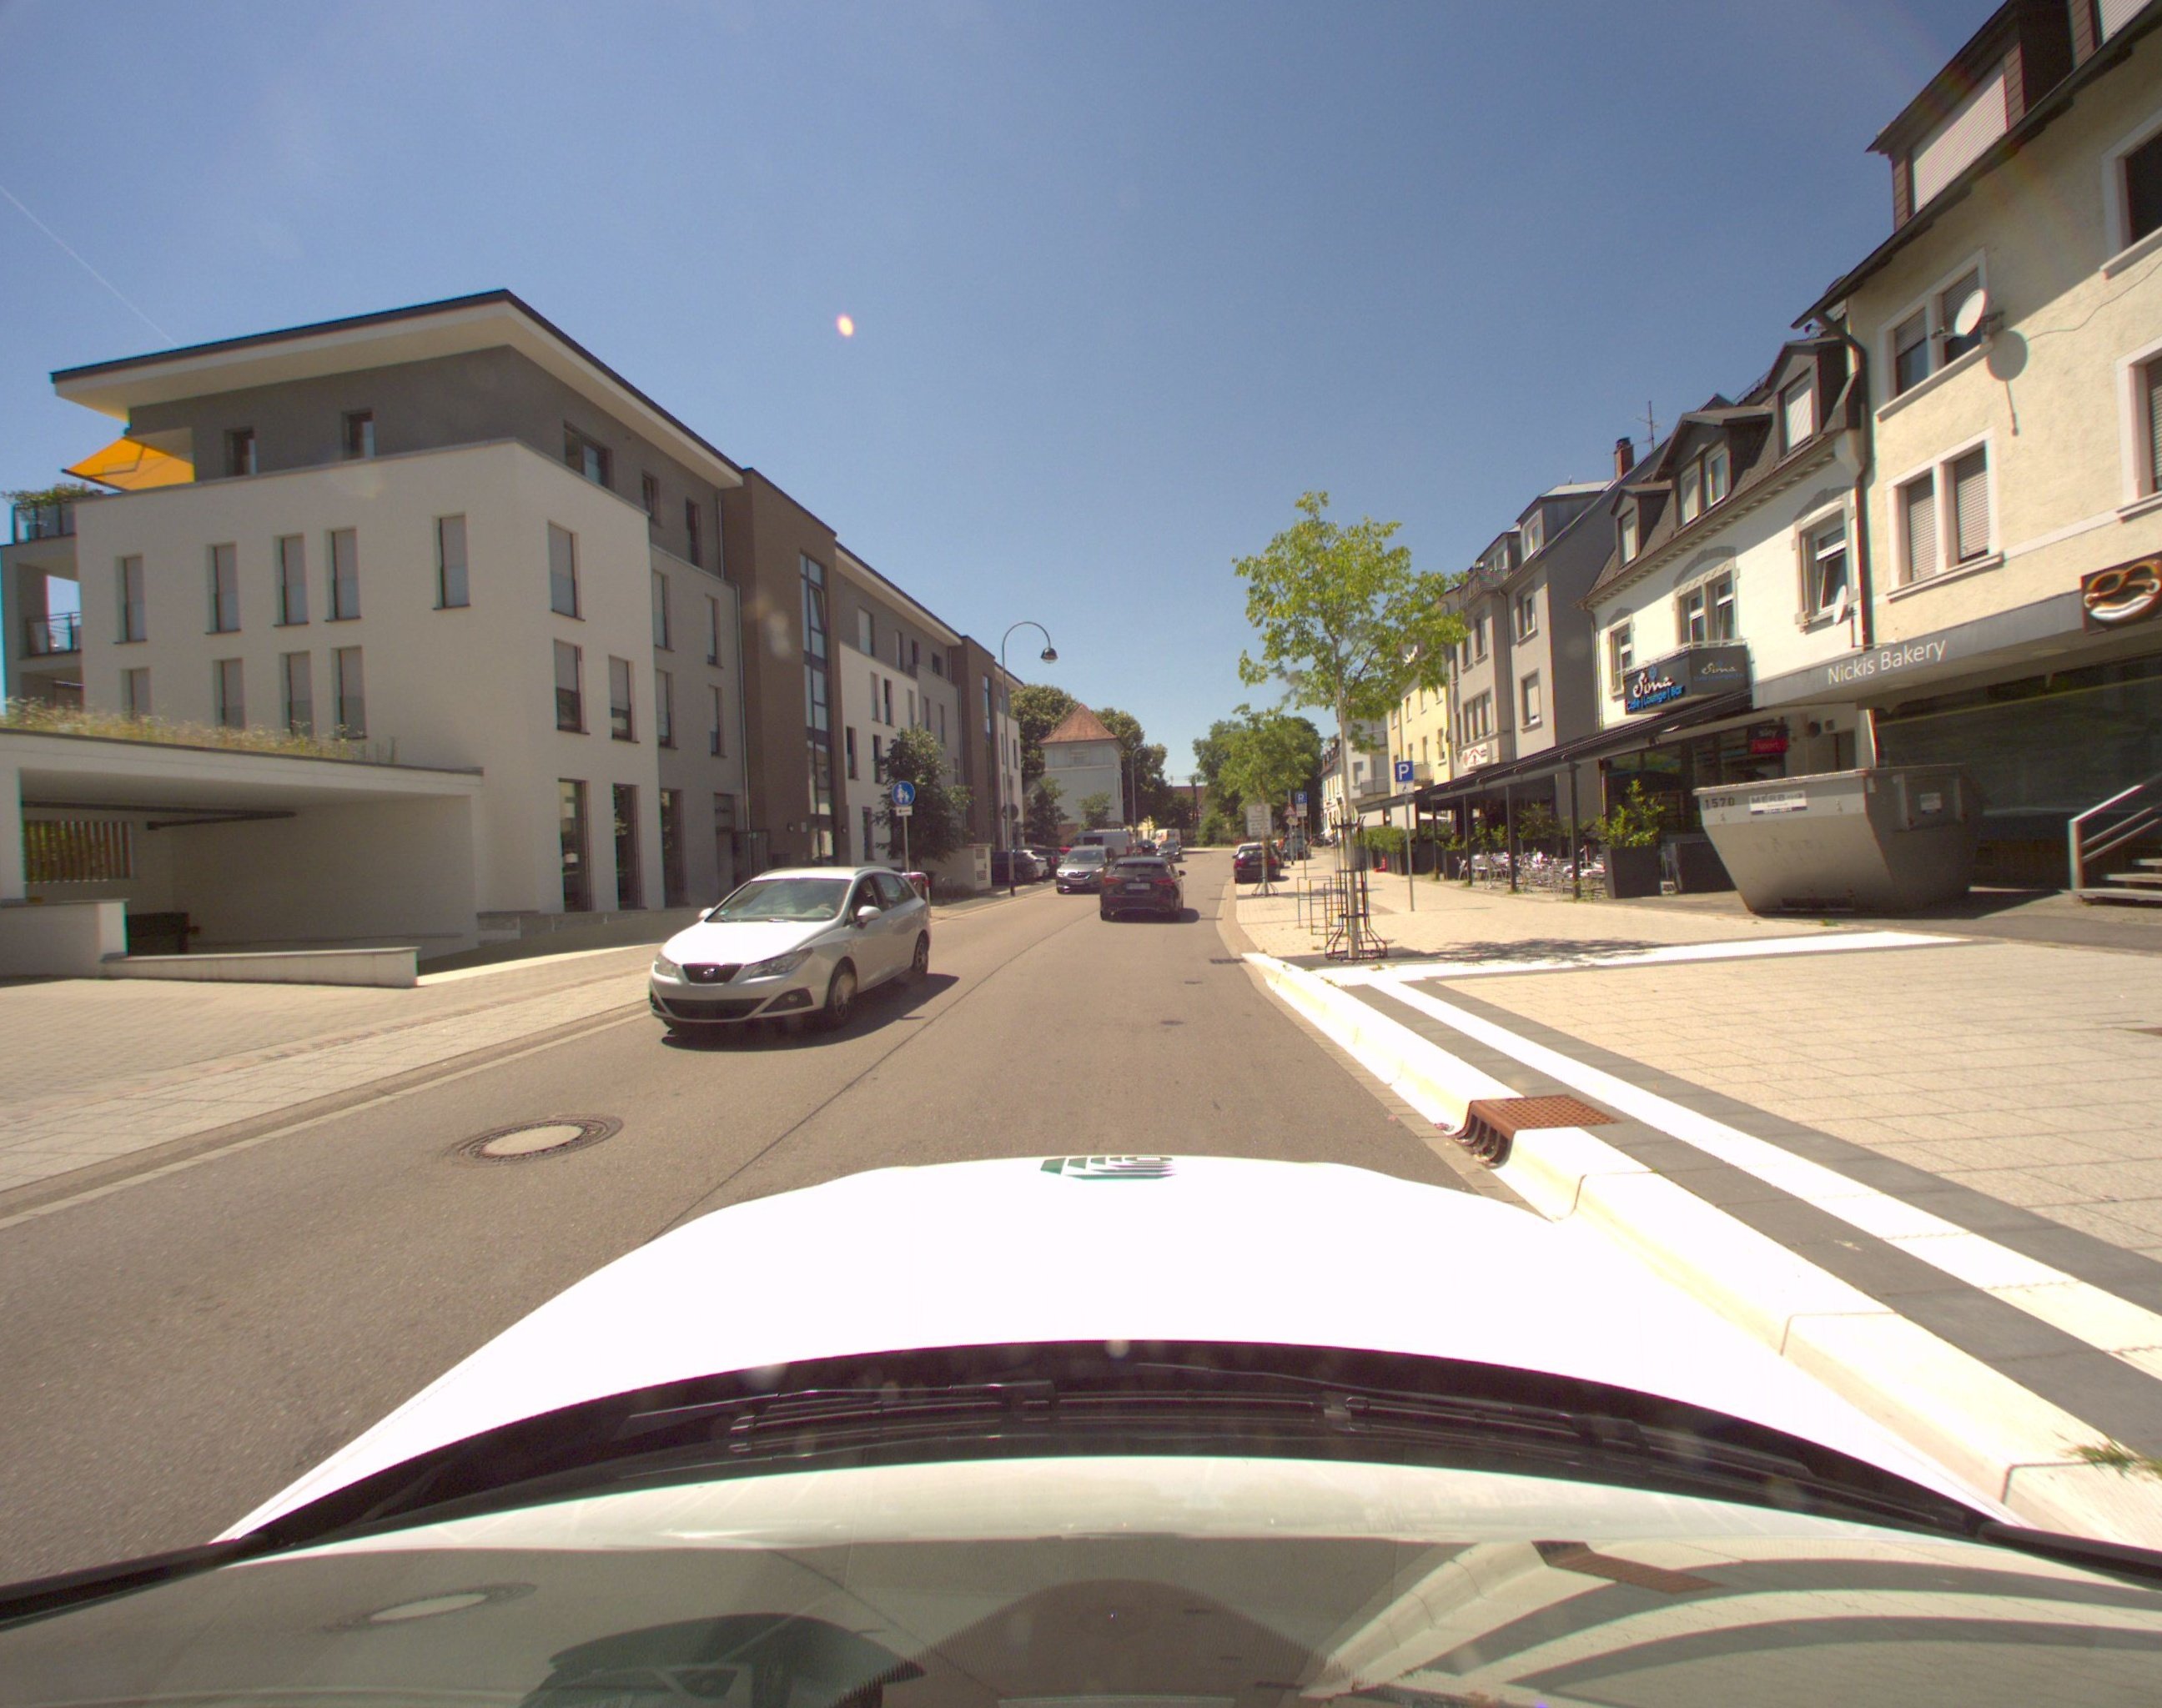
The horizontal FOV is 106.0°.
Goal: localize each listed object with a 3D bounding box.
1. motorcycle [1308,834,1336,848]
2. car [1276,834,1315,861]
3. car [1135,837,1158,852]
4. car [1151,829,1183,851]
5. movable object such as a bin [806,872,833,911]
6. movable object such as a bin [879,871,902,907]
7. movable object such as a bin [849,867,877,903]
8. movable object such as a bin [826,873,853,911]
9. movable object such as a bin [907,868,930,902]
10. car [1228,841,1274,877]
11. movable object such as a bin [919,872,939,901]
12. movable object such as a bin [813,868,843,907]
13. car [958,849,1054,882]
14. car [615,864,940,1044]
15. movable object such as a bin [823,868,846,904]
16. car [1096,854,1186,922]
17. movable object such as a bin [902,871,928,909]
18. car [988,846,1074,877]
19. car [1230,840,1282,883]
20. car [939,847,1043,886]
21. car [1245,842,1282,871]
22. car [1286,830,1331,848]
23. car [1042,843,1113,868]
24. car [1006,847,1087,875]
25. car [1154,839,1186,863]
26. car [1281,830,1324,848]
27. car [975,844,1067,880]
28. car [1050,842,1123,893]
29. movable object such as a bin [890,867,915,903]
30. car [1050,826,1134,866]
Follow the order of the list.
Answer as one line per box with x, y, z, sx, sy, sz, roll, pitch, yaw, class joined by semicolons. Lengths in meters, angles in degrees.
22.783;-1.216;76.988;2.362;1.275;0.858;-2;1;9;motorcycle
14.665;-0.462;55.502;1.855;1.491;3.884;-4;1;24;car
7.713;-1.096;96.406;1.890;1.553;4.793;-3;2;-4;car
10.464;-1.678;99.439;2.130;2.629;5.252;-2;0;-14;car
-7.157;1.022;22.296;0.481;0.998;0.588;-2;0;3;movable object such as a bin
-5.573;1.024;23.807;0.553;0.998;0.404;-3;0;-3;movable object such as a bin
-6.582;0.919;24.612;0.675;1.039;0.603;-2;0;-7;movable object such as a bin
-6.566;1.030;22.135;0.480;0.998;0.527;-2;0;6;movable object such as a bin
-4.998;0.957;25.075;0.550;0.998;0.428;-2;0;12;movable object such as a bin
8.103;0.193;38.517;1.724;1.486;4.072;-5;0;16;car
-4.774;1.024;25.605;0.553;0.867;0.480;-2;0;-7;movable object such as a bin
-7.379;0.969;23.753;0.691;1.095;0.646;-2;0;-7;movable object such as a bin
-3.384;0.518;37.141;3.961;1.421;1.916;-1;0;11;car
-2.848;0.853;8.621;1.659;1.396;3.854;-1;0;6;car
-7.459;0.956;24.692;0.553;1.039;0.480;-2;0;-7;movable object such as a bin
1.551;0.748;19.538;1.817;1.442;4.010;-1;0;9;car
-4.522;0.976;22.164;0.480;0.998;0.589;-2;0;9;movable object such as a bin
-2.592;0.396;42.405;4.005;1.496;2.007;-1;0;12;car
6.978;0.277;32.598;1.820;1.482;4.109;-5;-1;12;car
-3.814;0.525;34.819;3.962;1.515;2.006;-1;2;10;car
10.110;0.113;44.917;1.712;1.405;4.627;-4;0;14;car
22.562;-1.488;80.846;4.051;1.715;1.861;-1;0;8;car
-0.226;0.091;54.777;4.426;1.591;2.006;-1;0;10;car
-1.872;0.373;44.938;4.005;1.430;2.007;-1;0;12;car
6.796;-0.234;61.874;1.798;1.701;4.091;-2;0;13;car
22.514;-1.490;82.892;4.051;1.715;1.861;-1;0;8;car
-2.866;0.375;39.559;4.005;1.651;2.007;-1;0;12;car
0.298;0.449;29.743;1.930;1.658;4.247;-1;0;10;car
-5.376;0.927;24.546;0.551;1.020;0.561;-2;0;6;movable object such as a bin
0.832;-0.551;59.288;5.730;2.732;2.299;-1;0;11;car
